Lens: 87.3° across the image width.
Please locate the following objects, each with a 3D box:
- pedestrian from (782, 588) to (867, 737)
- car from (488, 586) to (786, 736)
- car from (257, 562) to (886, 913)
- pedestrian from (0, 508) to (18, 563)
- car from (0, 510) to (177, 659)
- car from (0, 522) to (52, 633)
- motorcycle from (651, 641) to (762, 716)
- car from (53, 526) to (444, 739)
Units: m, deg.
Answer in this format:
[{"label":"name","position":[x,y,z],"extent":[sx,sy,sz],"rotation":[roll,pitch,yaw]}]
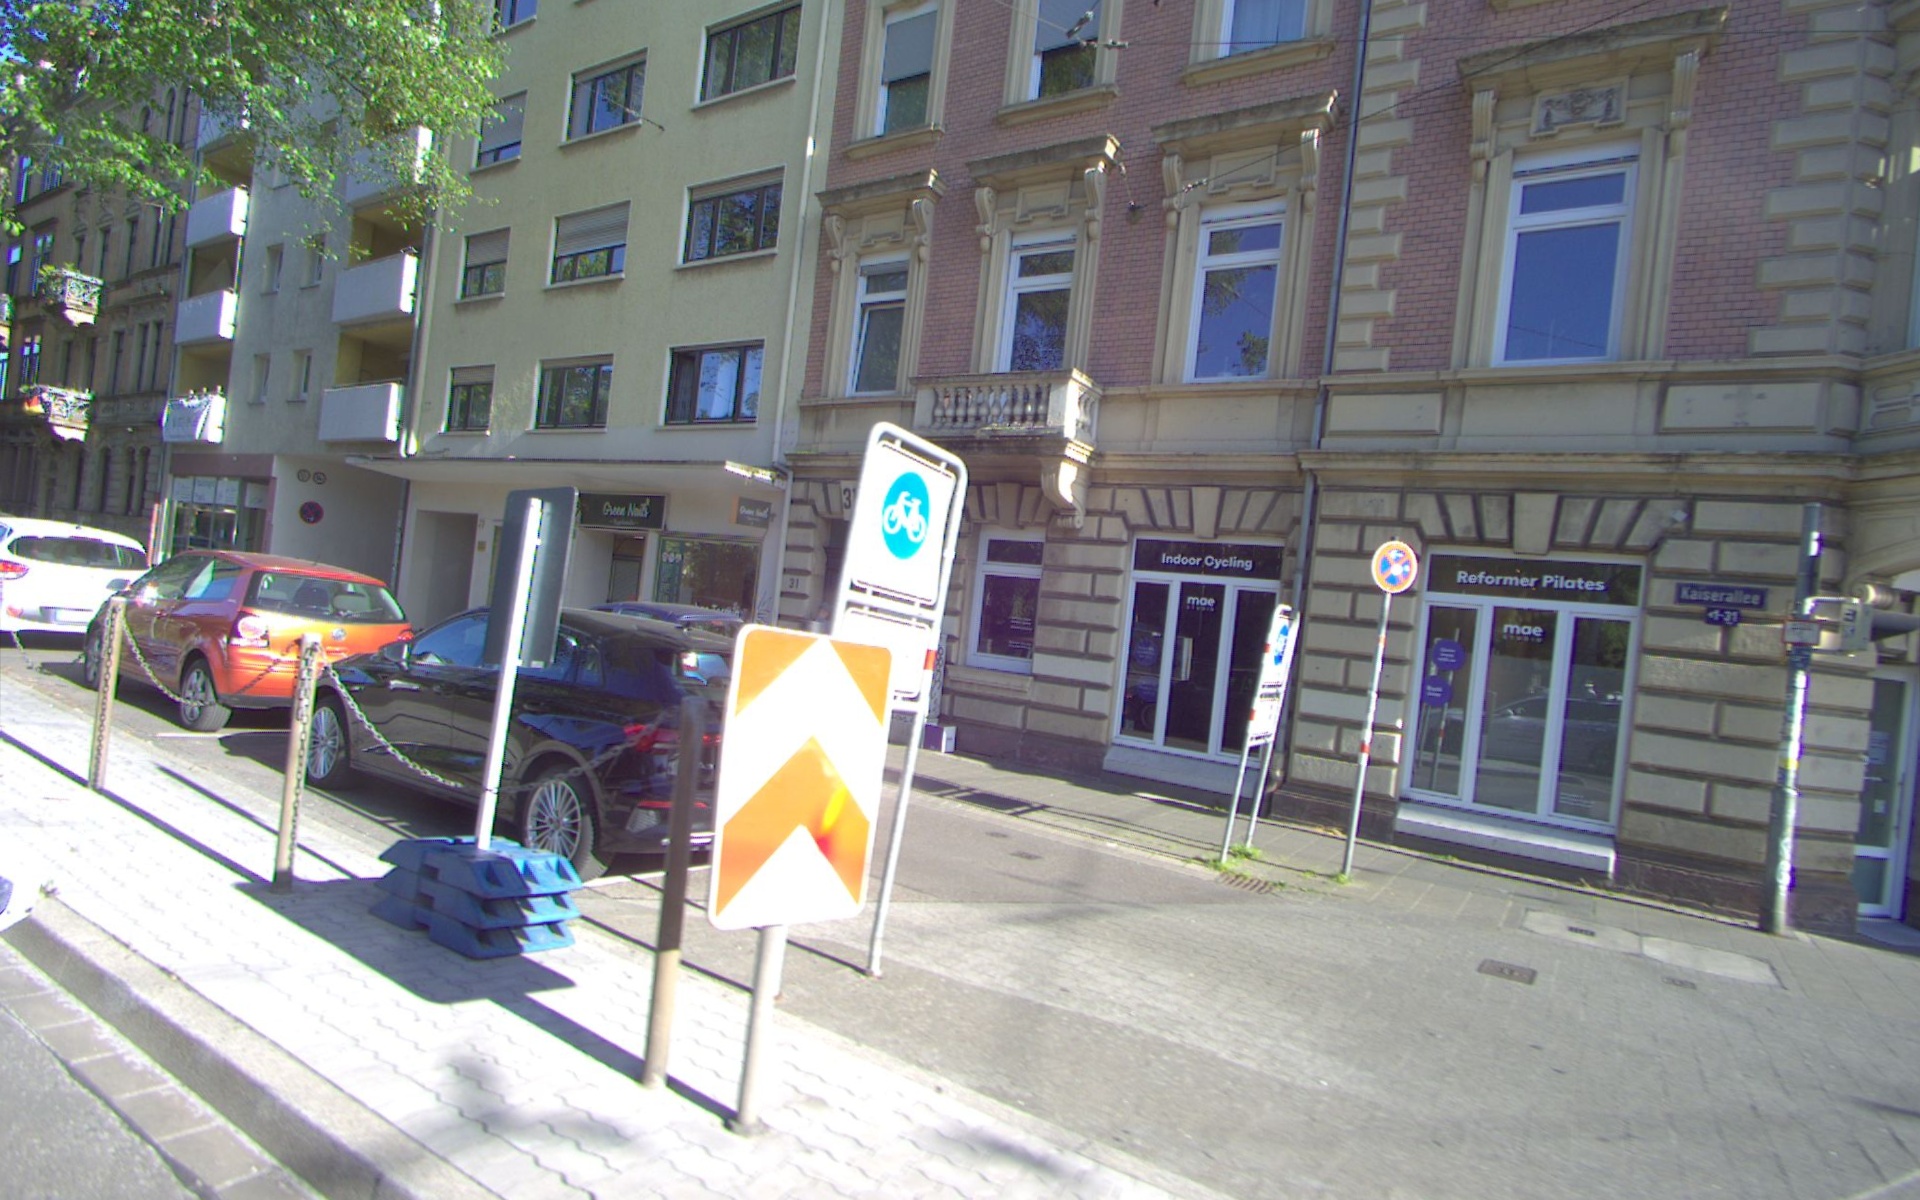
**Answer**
[{"label":"pedestrian","position":[-1.968,0.903,14.616],"extent":[0.839,2.035,0.512],"rotation":[6,-3,37]},{"label":"car","position":[-4.527,0.771,13.946],"extent":[3.934,1.499,1.694],"rotation":[6,1,31]},{"label":"car","position":[-2.712,0.727,6.703],"extent":[4.102,1.437,1.700],"rotation":[6,-4,33]},{"label":"pedestrian","position":[-34.031,-2.317,35.392],"extent":[0.704,1.861,1.000],"rotation":[6,-1,35]},{"label":"car","position":[-11.633,-0.291,12.556],"extent":[3.636,1.493,1.630],"rotation":[6,-4,32]},{"label":"car","position":[-15.047,-0.520,14.835],"extent":[3.728,1.501,1.564],"rotation":[6,-4,36]},{"label":"motorcycle","position":[-3.925,1.188,15.526],"extent":[1.843,0.907,0.486],"rotation":[6,1,34]},{"label":"car","position":[-6.762,0.258,9.458],"extent":[3.842,1.450,1.592],"rotation":[6,-4,34]}]
